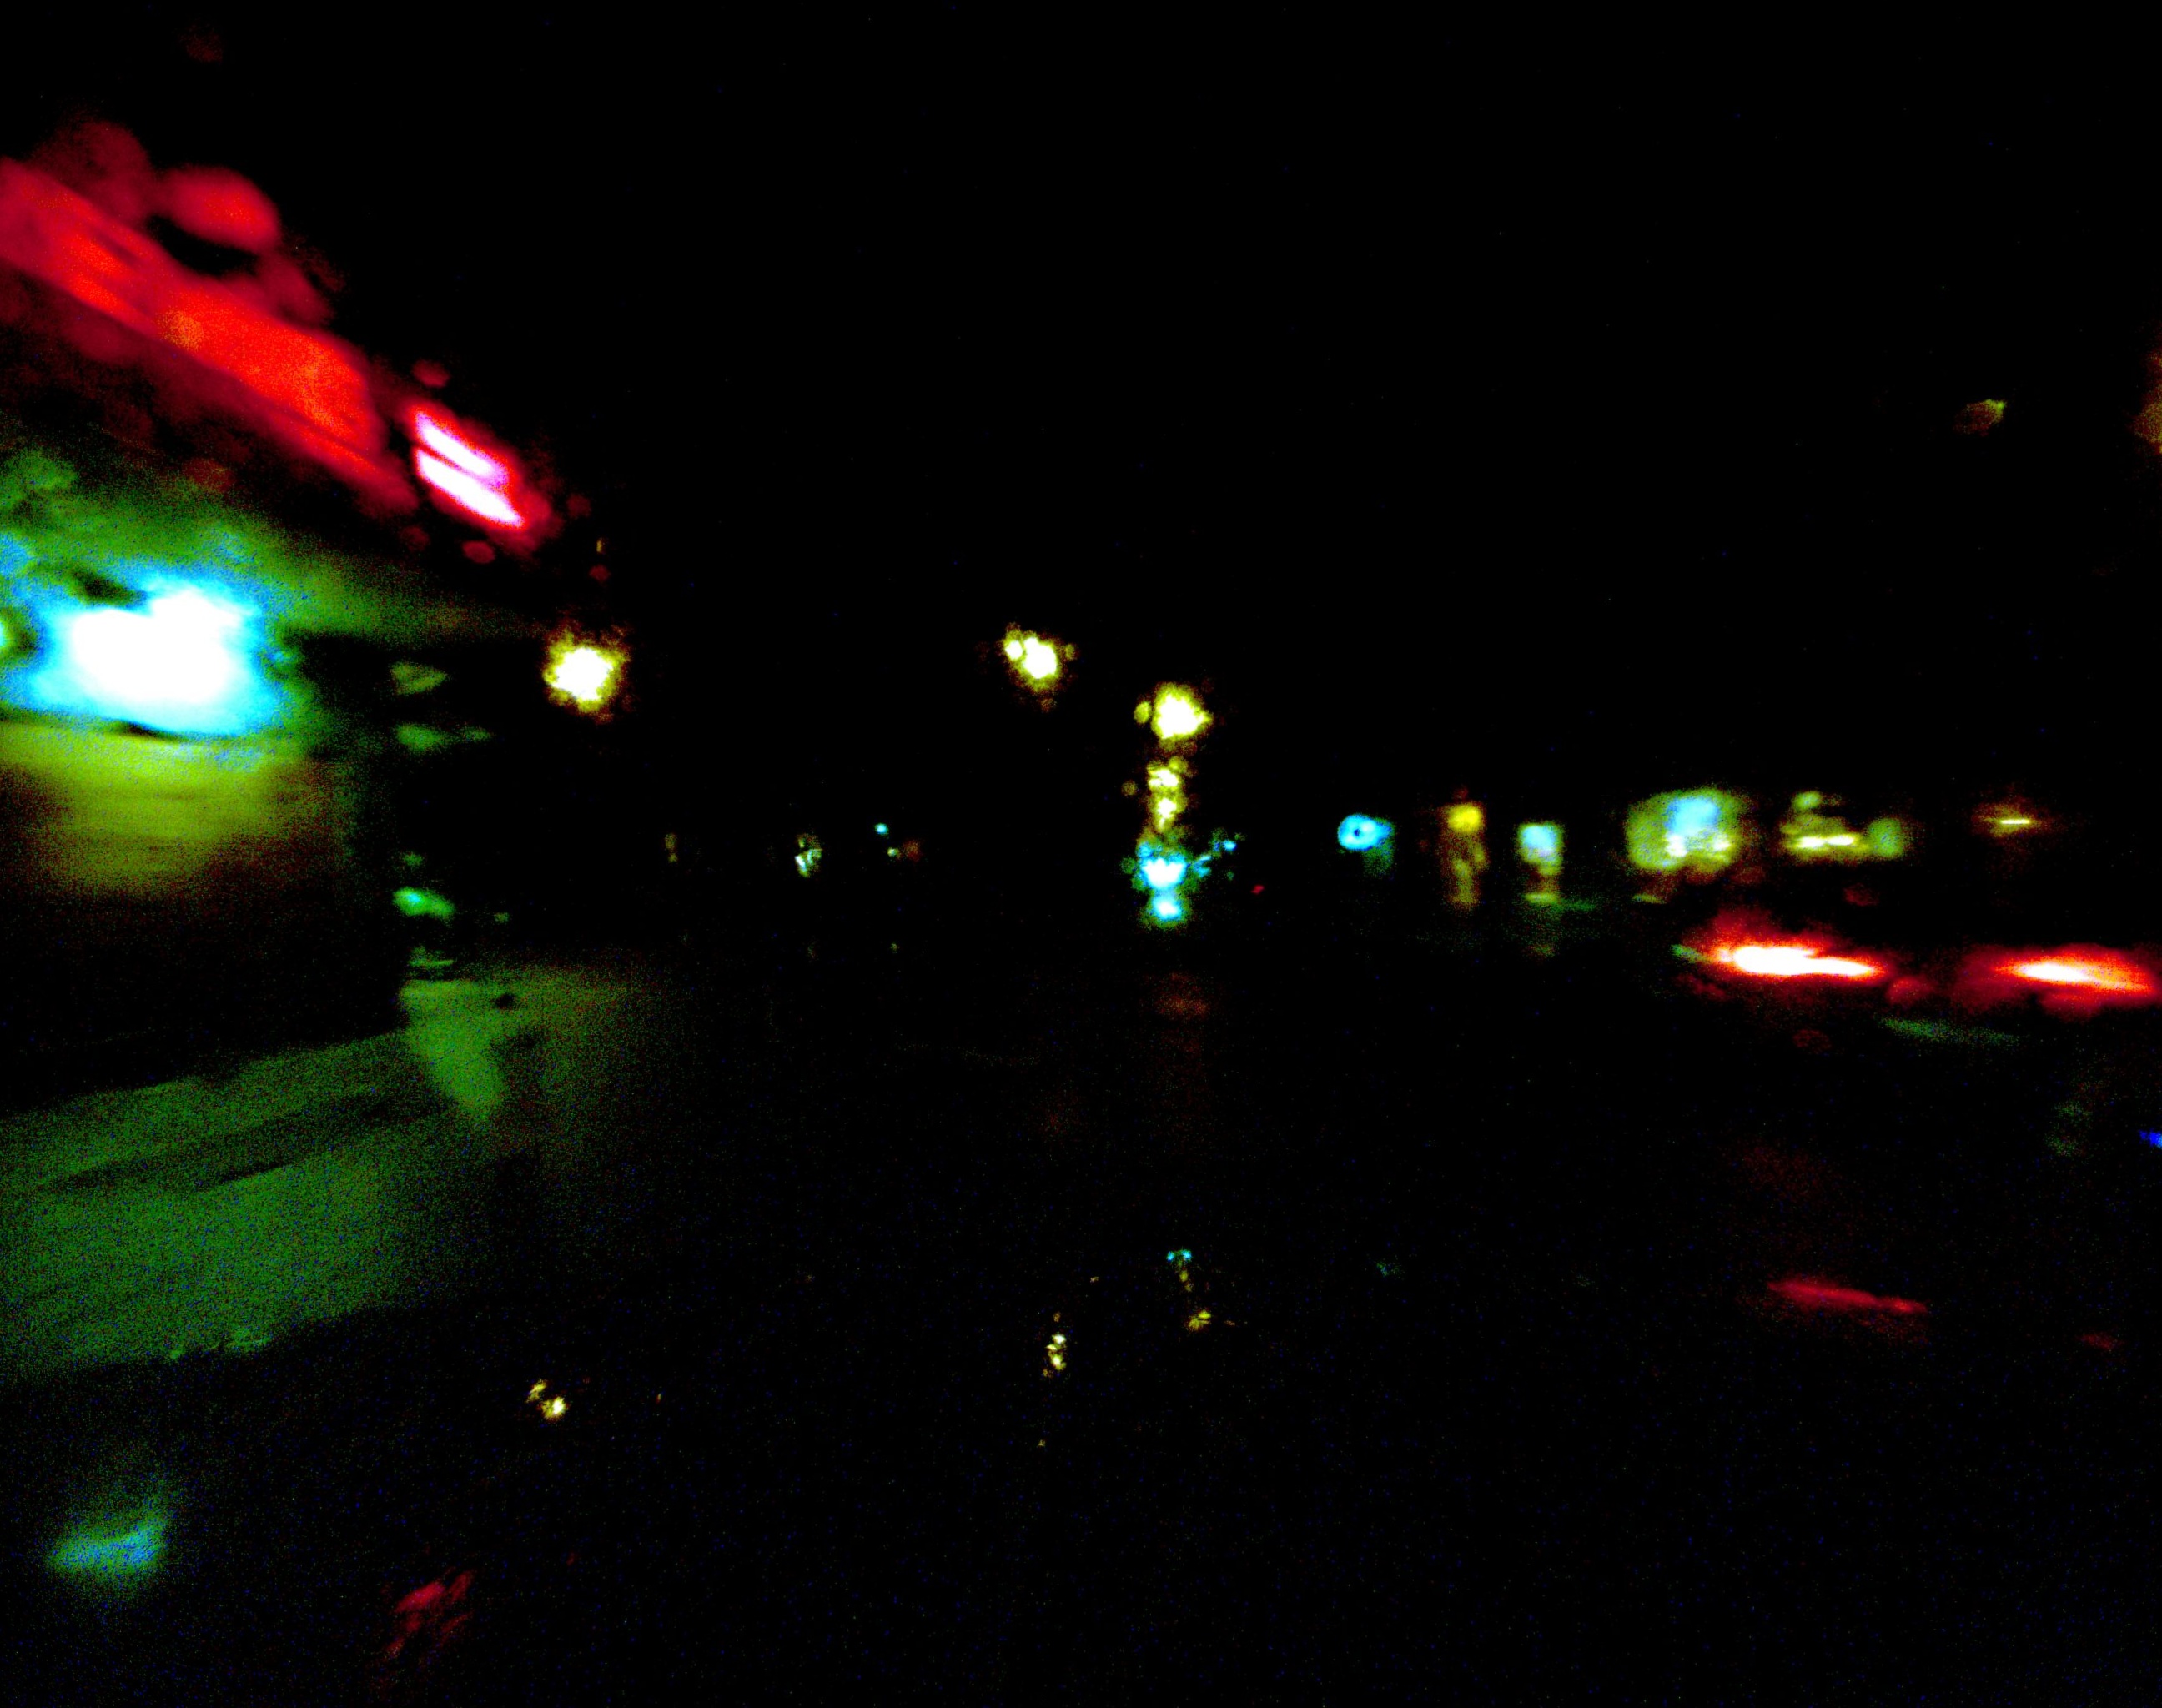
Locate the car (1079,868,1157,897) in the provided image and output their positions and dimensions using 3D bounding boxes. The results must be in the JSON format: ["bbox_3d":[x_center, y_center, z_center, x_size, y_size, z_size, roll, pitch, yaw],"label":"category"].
[{"bbox_3d":[2.130,1.586,43.551,4.079,1.588,1.830,1,-1,-29],"label":"car"}]

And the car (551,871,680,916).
[{"bbox_3d":[-20.790,1.720,34.144,1.995,1.752,4.471,-3,-1,29],"label":"car"}]

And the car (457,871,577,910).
[{"bbox_3d":[-28.813,1.841,38.973,1.995,1.752,4.471,-3,-1,29],"label":"car"}]

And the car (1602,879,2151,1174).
[{"bbox_3d":[5.553,0.950,6.058,1.564,1.419,4.076,0,-1,24],"label":"car"}]

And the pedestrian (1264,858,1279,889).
[{"bbox_3d":[13.863,1.438,55.243,0.801,2.227,1.117,-1,0,5],"label":"pedestrian"}]

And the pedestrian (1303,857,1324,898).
[{"bbox_3d":[10.326,1.049,33.721,0.827,1.760,0.601,-3,0,18],"label":"pedestrian"}]

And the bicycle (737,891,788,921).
[{"bbox_3d":[-11.511,1.857,27.506,0.402,1.002,1.814,-2,-1,31],"label":"bicycle"}]

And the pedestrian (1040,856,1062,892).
[{"bbox_3d":[-1.546,1.024,39.670,0.789,1.807,0.812,0,2,31],"label":"pedestrian"}]

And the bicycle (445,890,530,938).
[{"bbox_3d":[-16.299,1.640,20.879,1.963,1.169,0.452,-3,0,3],"label":"bicycle"}]

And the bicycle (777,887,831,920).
[{"bbox_3d":[-9.276,1.635,25.500,0.454,1.002,1.814,-2,-1,31],"label":"bicycle"}]

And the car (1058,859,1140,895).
[{"bbox_3d":[0.924,1.134,38.246,3.746,1.702,1.768,1,-1,-29],"label":"car"}]

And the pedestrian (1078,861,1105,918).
[{"bbox_3d":[0.359,1.176,25.378,0.676,1.821,1.078,-3,0,8],"label":"pedestrian"}]

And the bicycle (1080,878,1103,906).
[{"bbox_3d":[0.444,1.620,32.722,0.336,1.021,1.642,-2,3,-24],"label":"bicycle"}]

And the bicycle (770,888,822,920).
[{"bbox_3d":[-9.730,1.684,26.003,0.402,1.002,1.814,-2,-1,31],"label":"bicycle"}]

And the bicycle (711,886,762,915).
[{"bbox_3d":[-12.626,1.697,27.920,0.402,1.002,1.781,-1,-1,31],"label":"bicycle"}]

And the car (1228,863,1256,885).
[{"bbox_3d":[12.129,1.476,57.383,1.719,1.469,3.788,-3,-1,8],"label":"car"}]

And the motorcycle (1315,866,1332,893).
[{"bbox_3d":[13.551,1.396,42.462,0.538,1.462,1.458,-3,0,5],"label":"motorcycle"}]

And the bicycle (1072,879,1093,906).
[{"bbox_3d":[0.065,1.636,32.521,0.336,1.086,1.644,0,-1,-20],"label":"bicycle"}]

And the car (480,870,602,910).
[{"bbox_3d":[-26.820,1.747,37.904,1.995,1.752,4.471,-3,-1,29],"label":"car"}]

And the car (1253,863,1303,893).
[{"bbox_3d":[10.623,1.250,41.351,1.850,1.469,5.033,-2,-1,6],"label":"car"}]

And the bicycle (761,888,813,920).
[{"bbox_3d":[-10.160,1.710,26.280,0.378,1.002,1.814,-2,-1,31],"label":"bicycle"}]

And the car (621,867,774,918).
[{"bbox_3d":[-15.059,1.478,30.176,1.995,1.752,5.106,-3,-1,29],"label":"car"}]

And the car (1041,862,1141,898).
[{"bbox_3d":[0.450,1.187,35.172,4.268,1.564,1.768,1,-1,-23],"label":"car"}]

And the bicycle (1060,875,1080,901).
[{"bbox_3d":[-0.489,1.436,32.258,0.336,1.020,1.643,0,0,-20],"label":"bicycle"}]

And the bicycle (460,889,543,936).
[{"bbox_3d":[-16.300,1.643,21.387,1.963,1.169,0.452,-3,0,3],"label":"bicycle"}]

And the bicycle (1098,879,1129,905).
[{"bbox_3d":[1.386,1.649,32.925,0.337,1.020,1.641,0,1,-39],"label":"bicycle"}]

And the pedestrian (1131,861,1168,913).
[{"bbox_3d":[2.470,1.175,27.517,0.876,1.822,0.986,-1,0,42],"label":"pedestrian"}]

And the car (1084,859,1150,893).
[{"bbox_3d":[2.221,1.331,46.596,3.746,2.016,1.718,1,0,-29],"label":"car"}]

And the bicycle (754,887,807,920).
[{"bbox_3d":[-10.533,1.710,26.662,0.402,1.003,1.813,-3,0,31],"label":"bicycle"}]

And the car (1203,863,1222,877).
[{"bbox_3d":[15.564,1.888,90.269,1.851,1.469,3.737,-3,-1,6],"label":"car"}]

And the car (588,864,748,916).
[{"bbox_3d":[-16.984,1.422,31.618,1.995,1.878,5.558,-3,-1,29],"label":"car"}]

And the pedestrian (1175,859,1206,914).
[{"bbox_3d":[3.832,1.125,26.646,0.957,1.852,1.415,-1,0,5],"label":"pedestrian"}]

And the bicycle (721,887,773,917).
[{"bbox_3d":[-12.132,1.736,27.663,0.402,1.002,1.814,-1,-1,31],"label":"bicycle"}]

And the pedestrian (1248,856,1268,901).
[{"bbox_3d":[7.275,0.988,31.240,0.713,1.800,1.126,-1,-1,11],"label":"pedestrian"}]

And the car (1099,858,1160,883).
[{"bbox_3d":[4.065,1.366,63.781,4.717,1.968,1.976,-2,0,-23],"label":"car"}]

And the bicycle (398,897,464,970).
[{"bbox_3d":[-11.150,1.338,13.013,1.782,1.167,0.385,-2,-1,34],"label":"bicycle"}]

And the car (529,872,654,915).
[{"bbox_3d":[-22.874,1.812,35.688,1.995,1.752,4.471,-3,-1,29],"label":"car"}]

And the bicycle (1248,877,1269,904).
[{"bbox_3d":[7.276,1.493,31.166,0.713,1.053,1.803,-1,-1,11],"label":"bicycle"}]

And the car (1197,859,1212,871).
[{"bbox_3d":[17.448,1.528,107.363,1.851,1.571,3.737,-3,-1,6],"label":"car"}]

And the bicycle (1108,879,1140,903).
[{"bbox_3d":[1.864,1.603,33.192,0.337,1.020,1.642,0,-1,-41],"label":"bicycle"}]

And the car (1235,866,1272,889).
[{"bbox_3d":[11.786,1.579,52.121,1.720,1.469,4.161,-2,-1,3],"label":"car"}]
